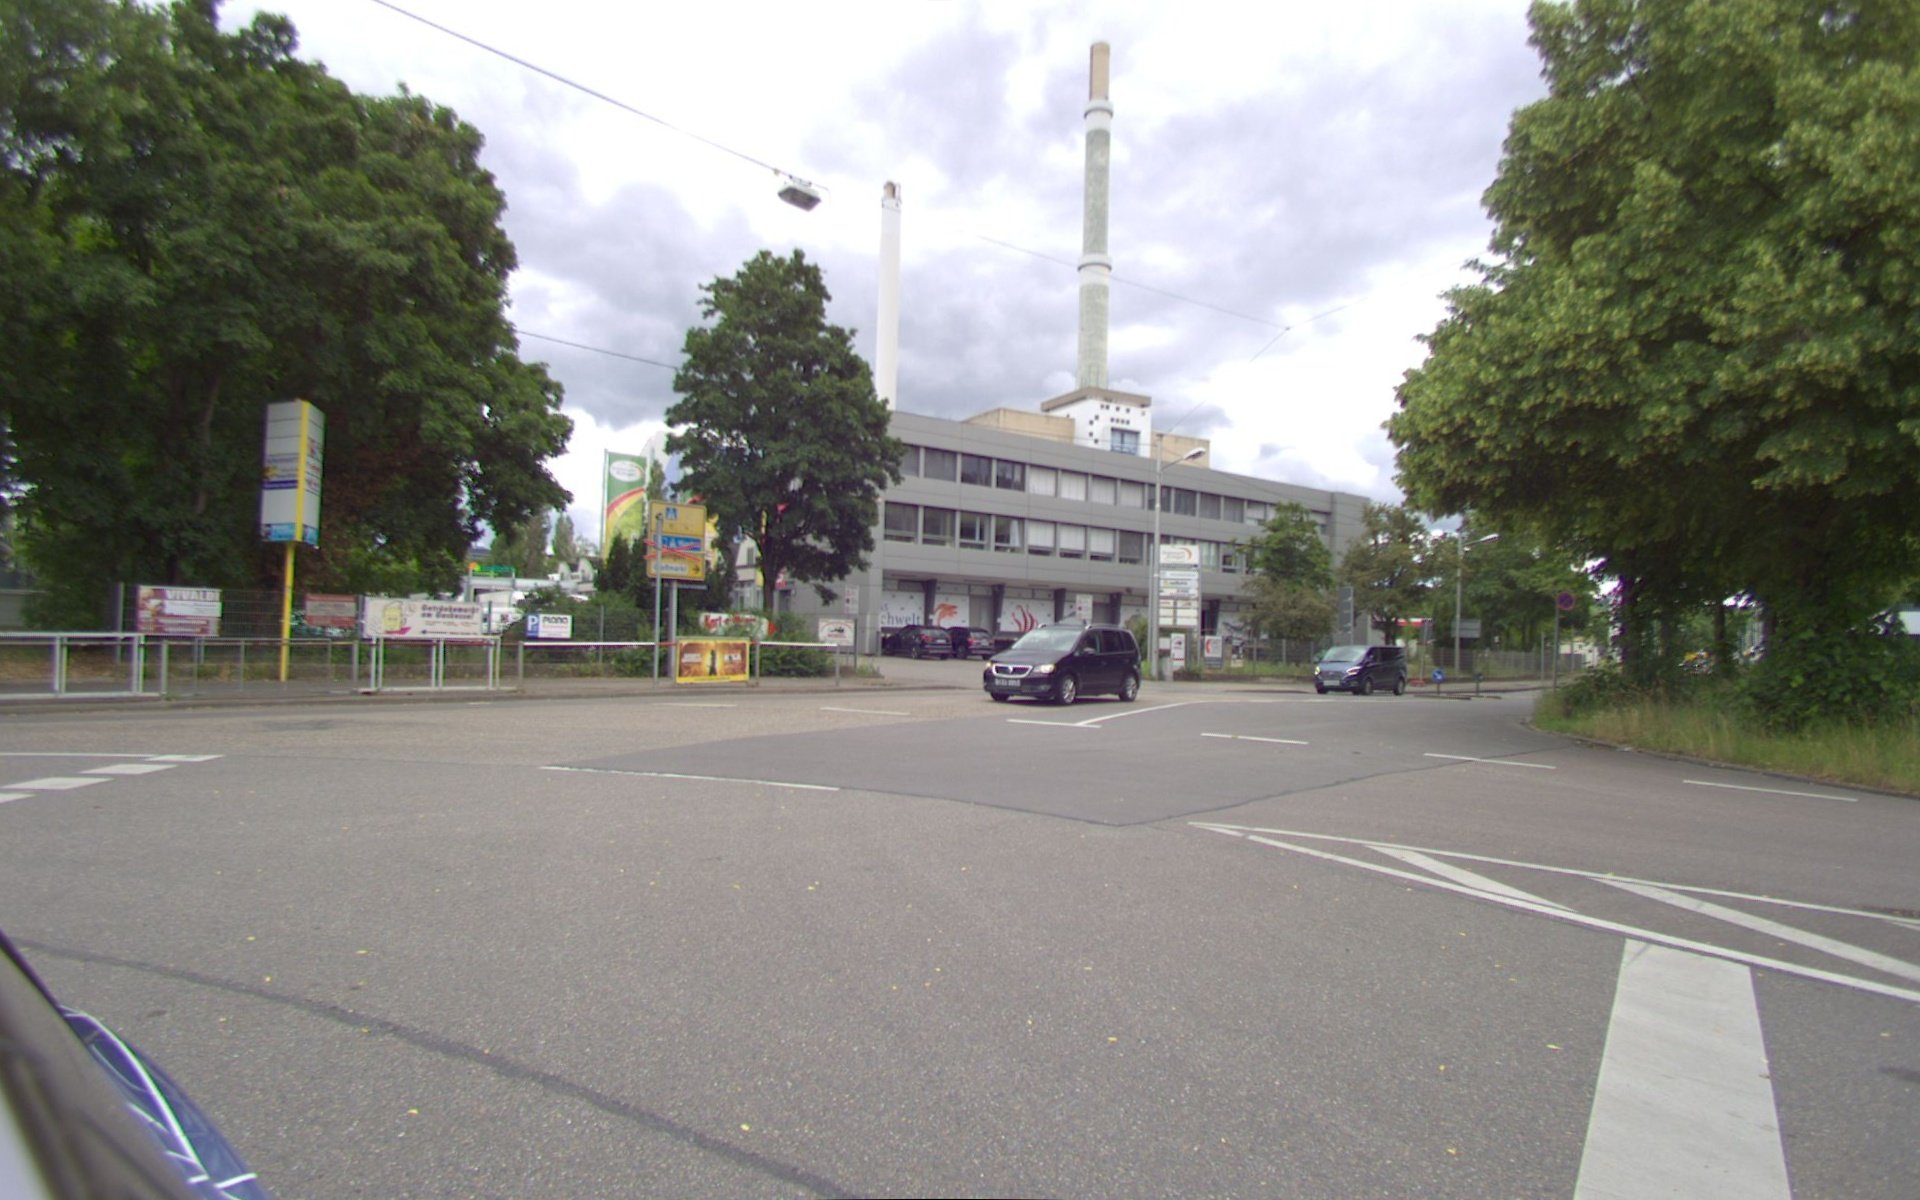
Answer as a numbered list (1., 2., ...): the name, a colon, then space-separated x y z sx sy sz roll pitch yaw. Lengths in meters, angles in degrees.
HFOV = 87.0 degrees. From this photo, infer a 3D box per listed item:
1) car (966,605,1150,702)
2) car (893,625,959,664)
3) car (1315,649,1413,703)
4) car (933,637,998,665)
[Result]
1. car: 2.127 1.151 20.897 1.830 1.785 4.176 -1 -5 37
2. car: -1.736 2.195 50.794 1.747 1.691 3.583 -1 1 -32
3. car: 15.790 2.923 39.398 4.731 1.960 1.834 3 -3 -45
4. car: 0.235 2.626 52.261 1.747 1.187 3.583 -1 1 -32
